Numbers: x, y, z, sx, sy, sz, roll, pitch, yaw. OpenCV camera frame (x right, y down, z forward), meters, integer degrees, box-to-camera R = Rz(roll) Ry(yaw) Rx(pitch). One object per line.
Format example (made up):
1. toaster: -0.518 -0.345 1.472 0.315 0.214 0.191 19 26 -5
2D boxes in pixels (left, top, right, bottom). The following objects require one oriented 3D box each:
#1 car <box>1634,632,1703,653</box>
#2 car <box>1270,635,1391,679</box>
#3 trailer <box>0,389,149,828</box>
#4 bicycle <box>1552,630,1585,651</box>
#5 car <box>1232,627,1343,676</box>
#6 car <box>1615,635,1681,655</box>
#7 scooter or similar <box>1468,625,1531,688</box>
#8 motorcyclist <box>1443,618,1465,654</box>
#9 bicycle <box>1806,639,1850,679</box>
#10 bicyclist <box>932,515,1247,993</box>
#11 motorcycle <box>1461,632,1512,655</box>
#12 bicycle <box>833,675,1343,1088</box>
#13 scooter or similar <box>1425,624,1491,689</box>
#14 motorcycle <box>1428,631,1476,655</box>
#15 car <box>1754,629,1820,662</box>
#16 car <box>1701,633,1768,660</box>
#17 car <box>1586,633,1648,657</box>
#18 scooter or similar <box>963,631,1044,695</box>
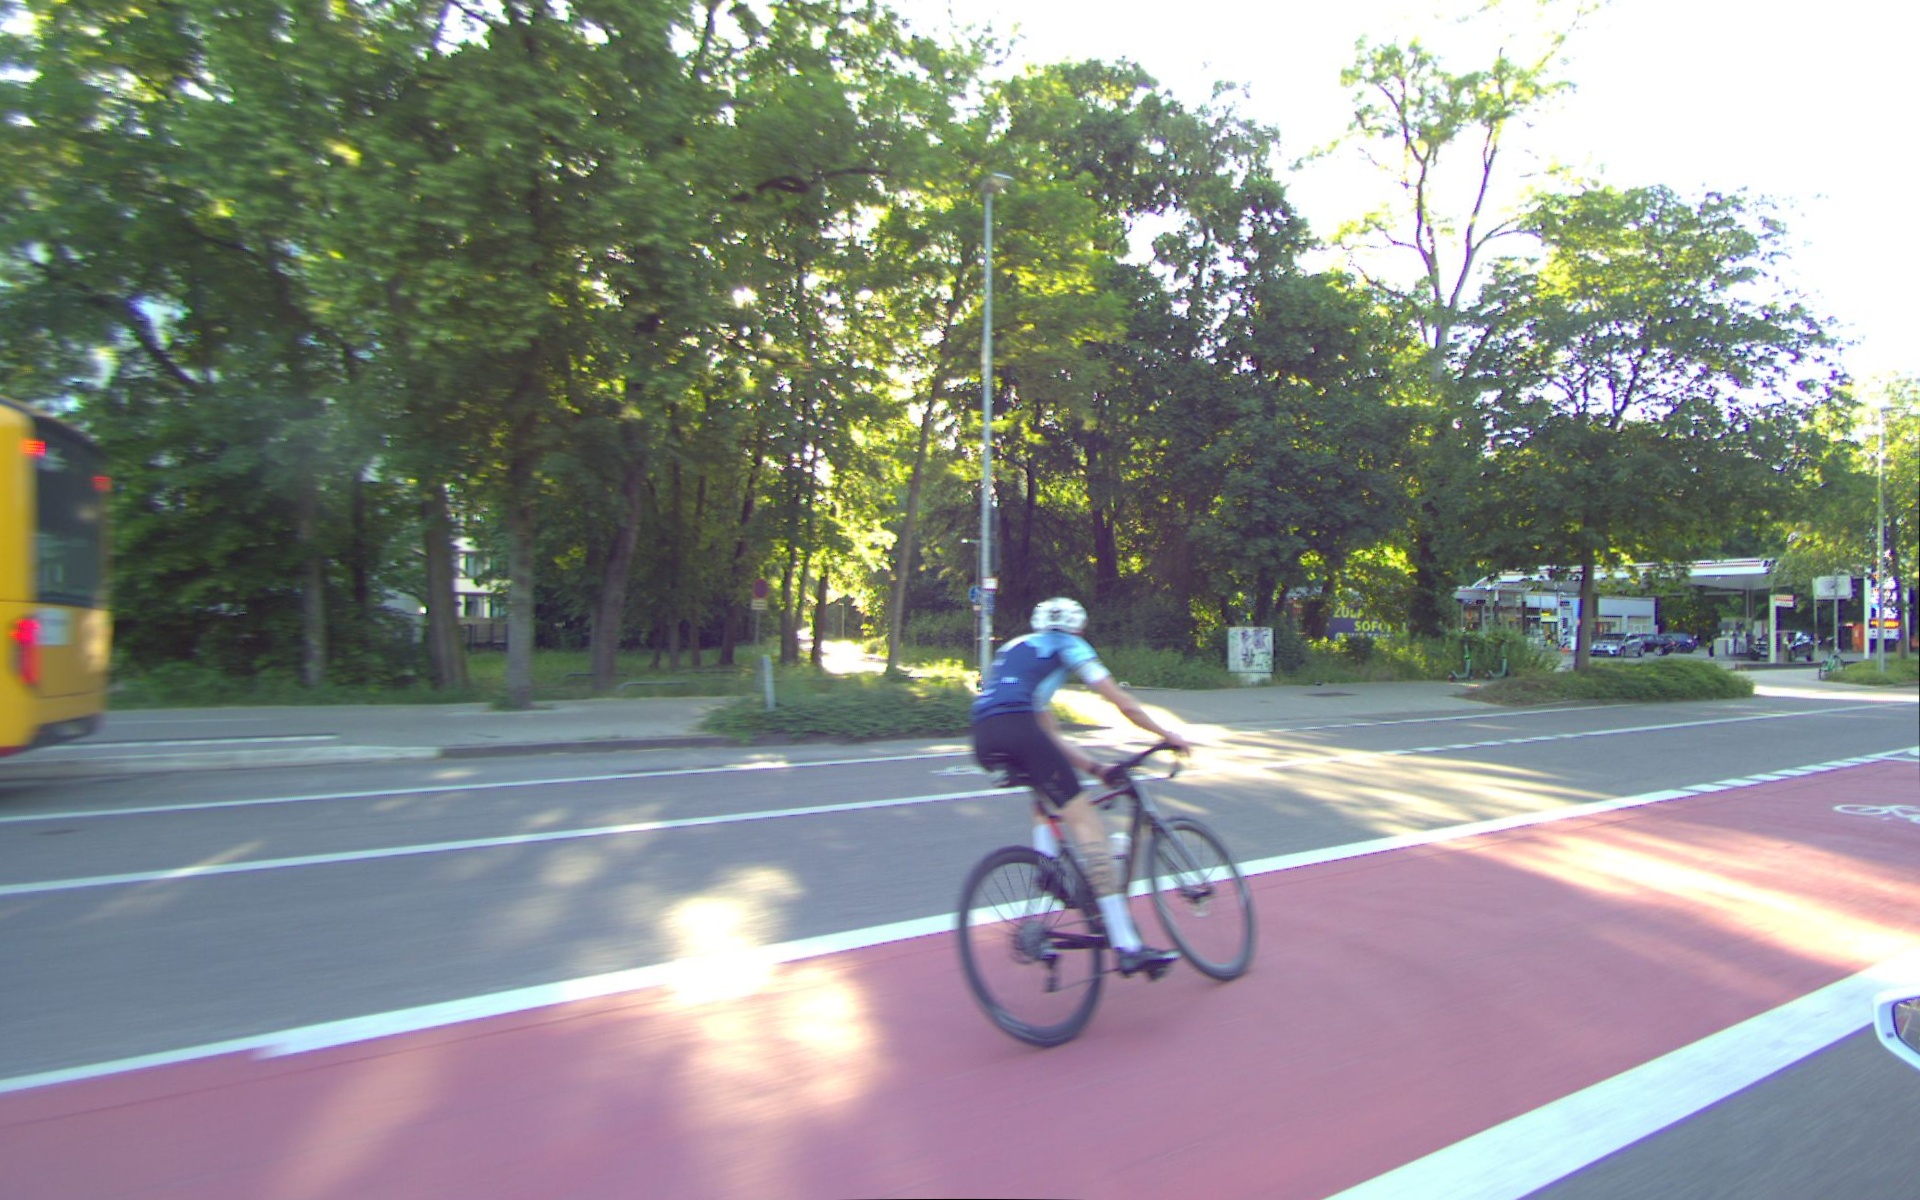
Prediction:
1. car: 54.205 3.247 76.878 1.881 1.576 3.960 1 -2 -36
2. car: 12.240 1.899 33.347 3.422 1.418 1.563 0 -3 0
3. trailer: -11.827 -0.057 6.930 9.250 3.400 2.842 2 0 -30
4. bicycle: 43.394 2.864 71.655 0.917 1.496 1.828 1 -1 -30
5. car: 11.525 1.801 35.464 3.422 1.673 1.563 0 -1 0
6. car: 48.199 3.118 70.430 3.584 1.371 1.706 -1 -2 45
7. scooter or similar: 15.368 1.595 28.593 1.721 1.739 0.823 1 -2 -31
8. motorcyclist: 30.753 2.212 62.536 0.996 2.211 1.125 0 -1 13
9. bicycle: 28.572 1.939 33.056 2.139 1.266 0.650 1 -2 -37
10. bicyclist: 0.505 0.514 3.947 0.875 1.588 0.852 1 0 -43
11. motorcycle: 33.841 2.803 64.573 2.694 1.470 1.134 0 -1 -5
12. bicycle: 0.615 0.924 4.064 2.120 1.110 0.883 1 0 -42
13. scooter or similar: 13.707 1.544 27.631 1.721 1.739 0.823 1 -2 -31
14. motorcycle: 30.634 2.661 62.548 2.455 1.470 1.135 0 -1 13
15. car: 44.306 2.431 53.784 4.410 1.713 1.699 2 -2 -36
16. car: 46.100 2.736 59.759 4.528 1.518 1.701 1 -2 -33
17. car: 39.576 2.685 60.486 4.016 1.394 1.701 1 -2 -33
18. scooter or similar: 0.943 1.335 21.604 1.552 1.327 0.823 1 -2 -31
